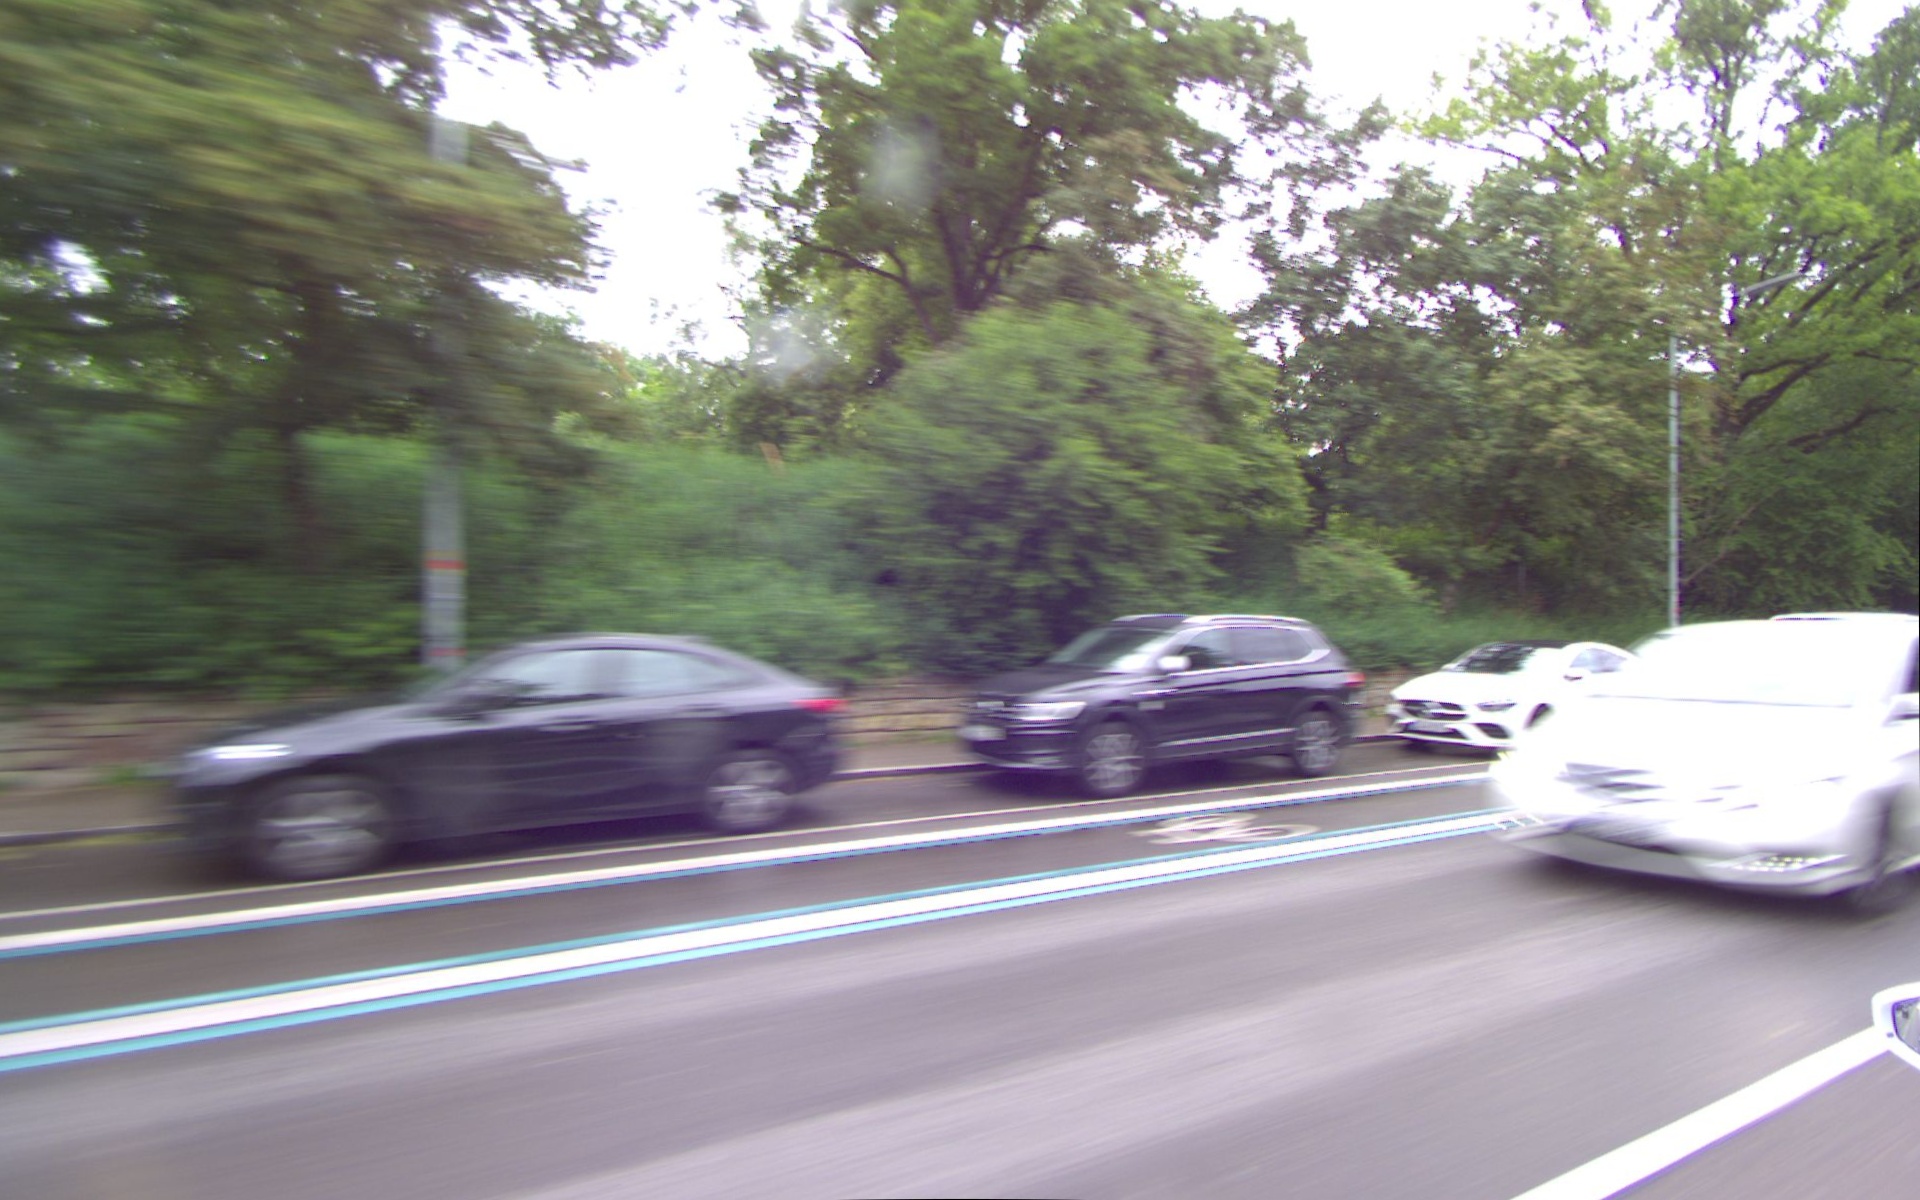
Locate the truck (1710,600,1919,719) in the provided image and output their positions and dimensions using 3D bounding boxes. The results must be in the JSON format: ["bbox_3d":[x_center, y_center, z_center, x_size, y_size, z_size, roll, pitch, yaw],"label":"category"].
[{"bbox_3d":[16.849,1.070,19.328,5.099,2.040,2.083,1,-1,-30],"label":"truck"}]

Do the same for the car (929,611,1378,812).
[{"bbox_3d":[2.108,0.985,10.385,4.620,1.682,1.727,1,-1,-31],"label":"car"}]

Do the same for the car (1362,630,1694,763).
[{"bbox_3d":[7.718,1.198,13.522,4.698,1.518,1.798,2,-2,-30],"label":"car"}]

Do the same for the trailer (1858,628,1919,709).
[{"bbox_3d":[20.993,1.461,21.523,2.220,1.679,1.352,1,-1,8],"label":"trailer"}]

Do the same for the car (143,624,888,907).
[{"bbox_3d":[-2.957,0.947,7.414,4.502,1.495,1.887,1,-1,-31],"label":"car"}]

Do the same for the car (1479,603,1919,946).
[{"bbox_3d":[5.482,0.885,6.577,4.209,1.600,1.777,1,-2,-31],"label":"car"}]
